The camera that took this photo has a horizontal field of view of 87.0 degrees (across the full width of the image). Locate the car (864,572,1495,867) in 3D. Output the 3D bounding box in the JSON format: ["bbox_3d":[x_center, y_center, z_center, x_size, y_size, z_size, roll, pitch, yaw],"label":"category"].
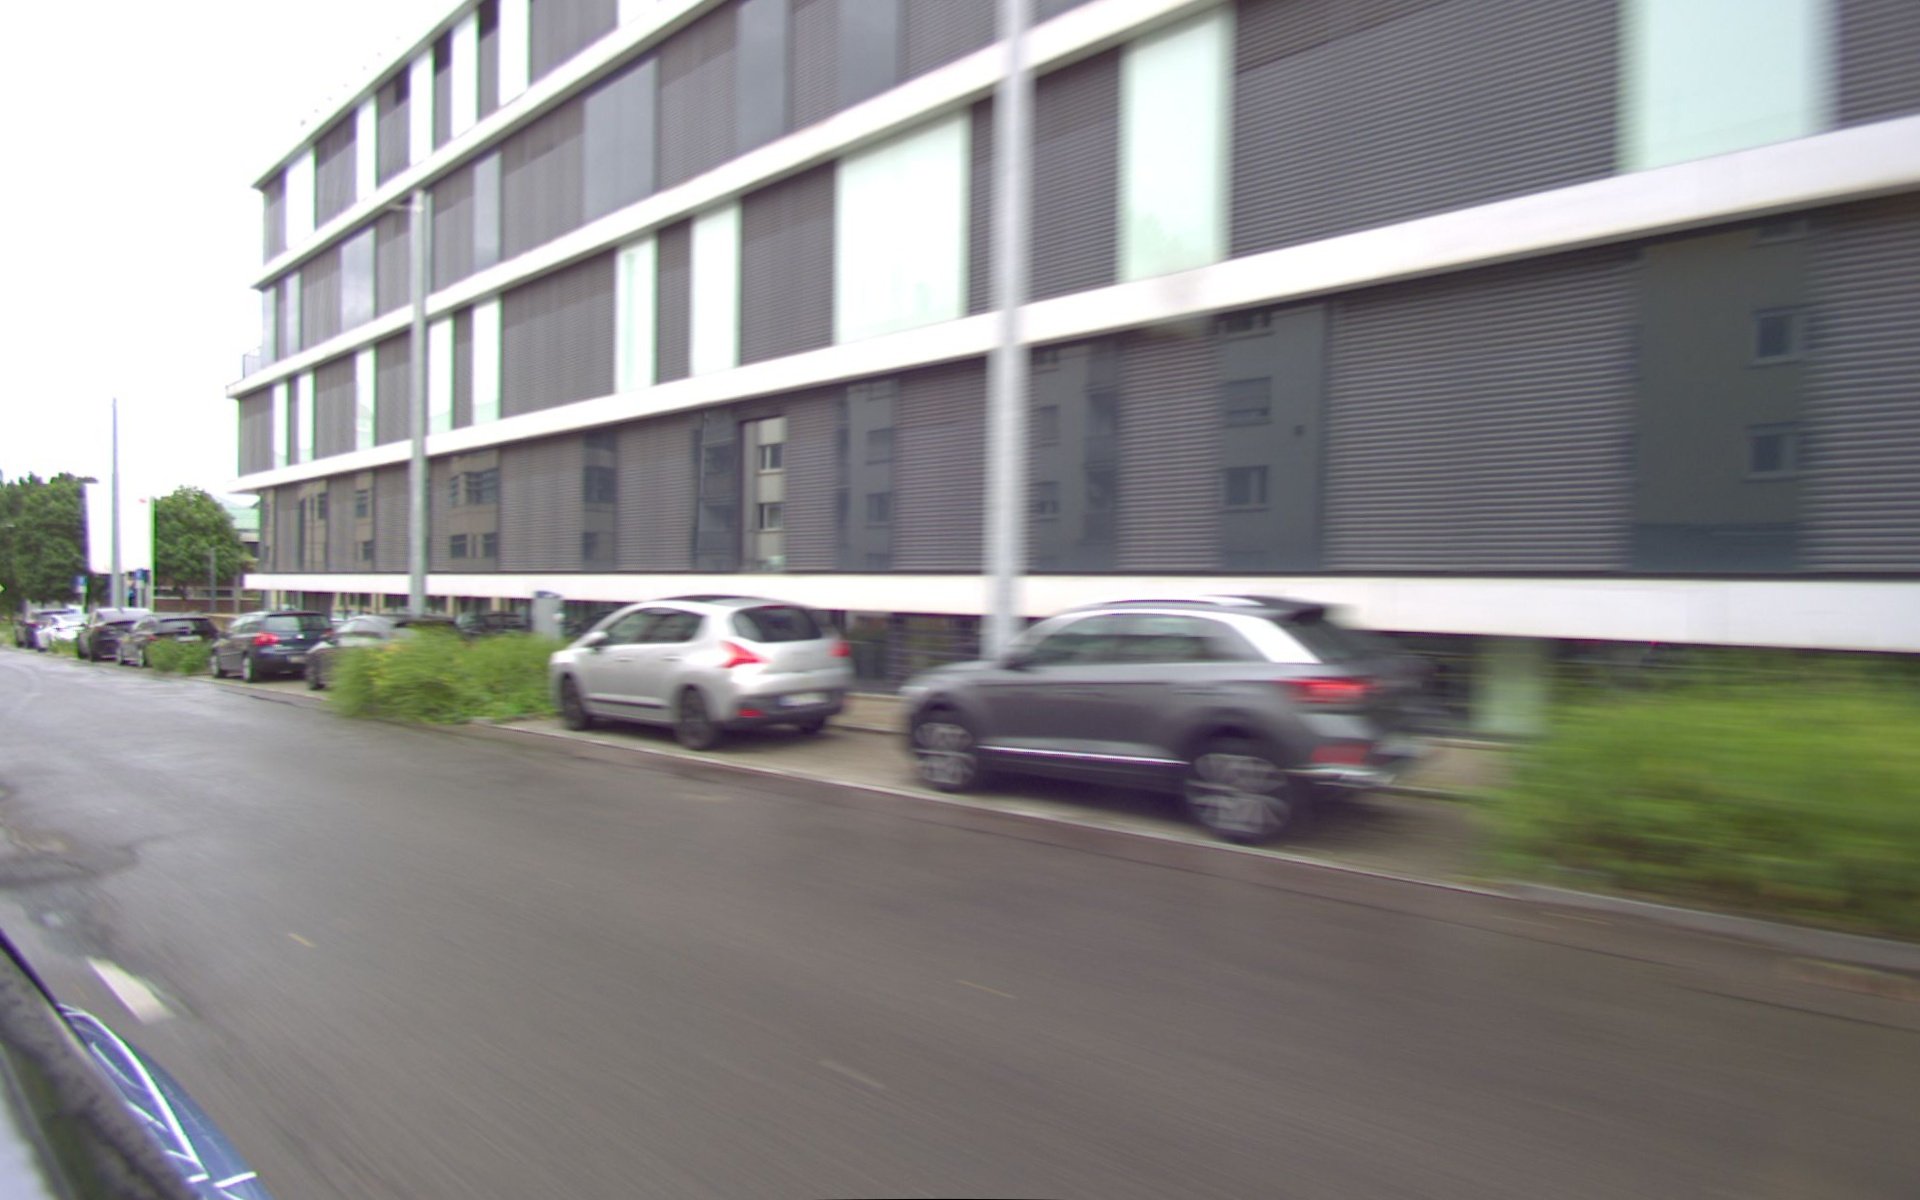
[{"bbox_3d":[1.430,0.651,7.729,4.363,1.601,1.862,-1,1,43],"label":"car"}]

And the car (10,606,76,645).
[{"bbox_3d":[-39.111,1.056,43.119,4.039,1.597,1.621,-1,0,41],"label":"car"}]

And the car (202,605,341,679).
[{"bbox_3d":[-15.228,0.864,22.309,4.039,1.483,1.545,-1,0,41],"label":"car"}]

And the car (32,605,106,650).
[{"bbox_3d":[-34.064,1.029,38.656,4.039,1.597,1.621,-1,0,41],"label":"car"}]

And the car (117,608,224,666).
[{"bbox_3d":[-21.976,0.975,28.115,4.039,1.483,1.621,-1,0,41],"label":"car"}]

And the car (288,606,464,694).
[{"bbox_3d":[-10.664,0.826,18.372,4.039,1.404,1.545,-1,0,41],"label":"car"}]

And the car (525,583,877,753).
[{"bbox_3d":[-3.160,0.655,11.837,4.361,1.601,1.811,-1,1,41],"label":"car"}]

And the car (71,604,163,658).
[{"bbox_3d":[-26.667,0.938,31.984,4.039,1.597,1.621,-1,0,41],"label":"car"}]
